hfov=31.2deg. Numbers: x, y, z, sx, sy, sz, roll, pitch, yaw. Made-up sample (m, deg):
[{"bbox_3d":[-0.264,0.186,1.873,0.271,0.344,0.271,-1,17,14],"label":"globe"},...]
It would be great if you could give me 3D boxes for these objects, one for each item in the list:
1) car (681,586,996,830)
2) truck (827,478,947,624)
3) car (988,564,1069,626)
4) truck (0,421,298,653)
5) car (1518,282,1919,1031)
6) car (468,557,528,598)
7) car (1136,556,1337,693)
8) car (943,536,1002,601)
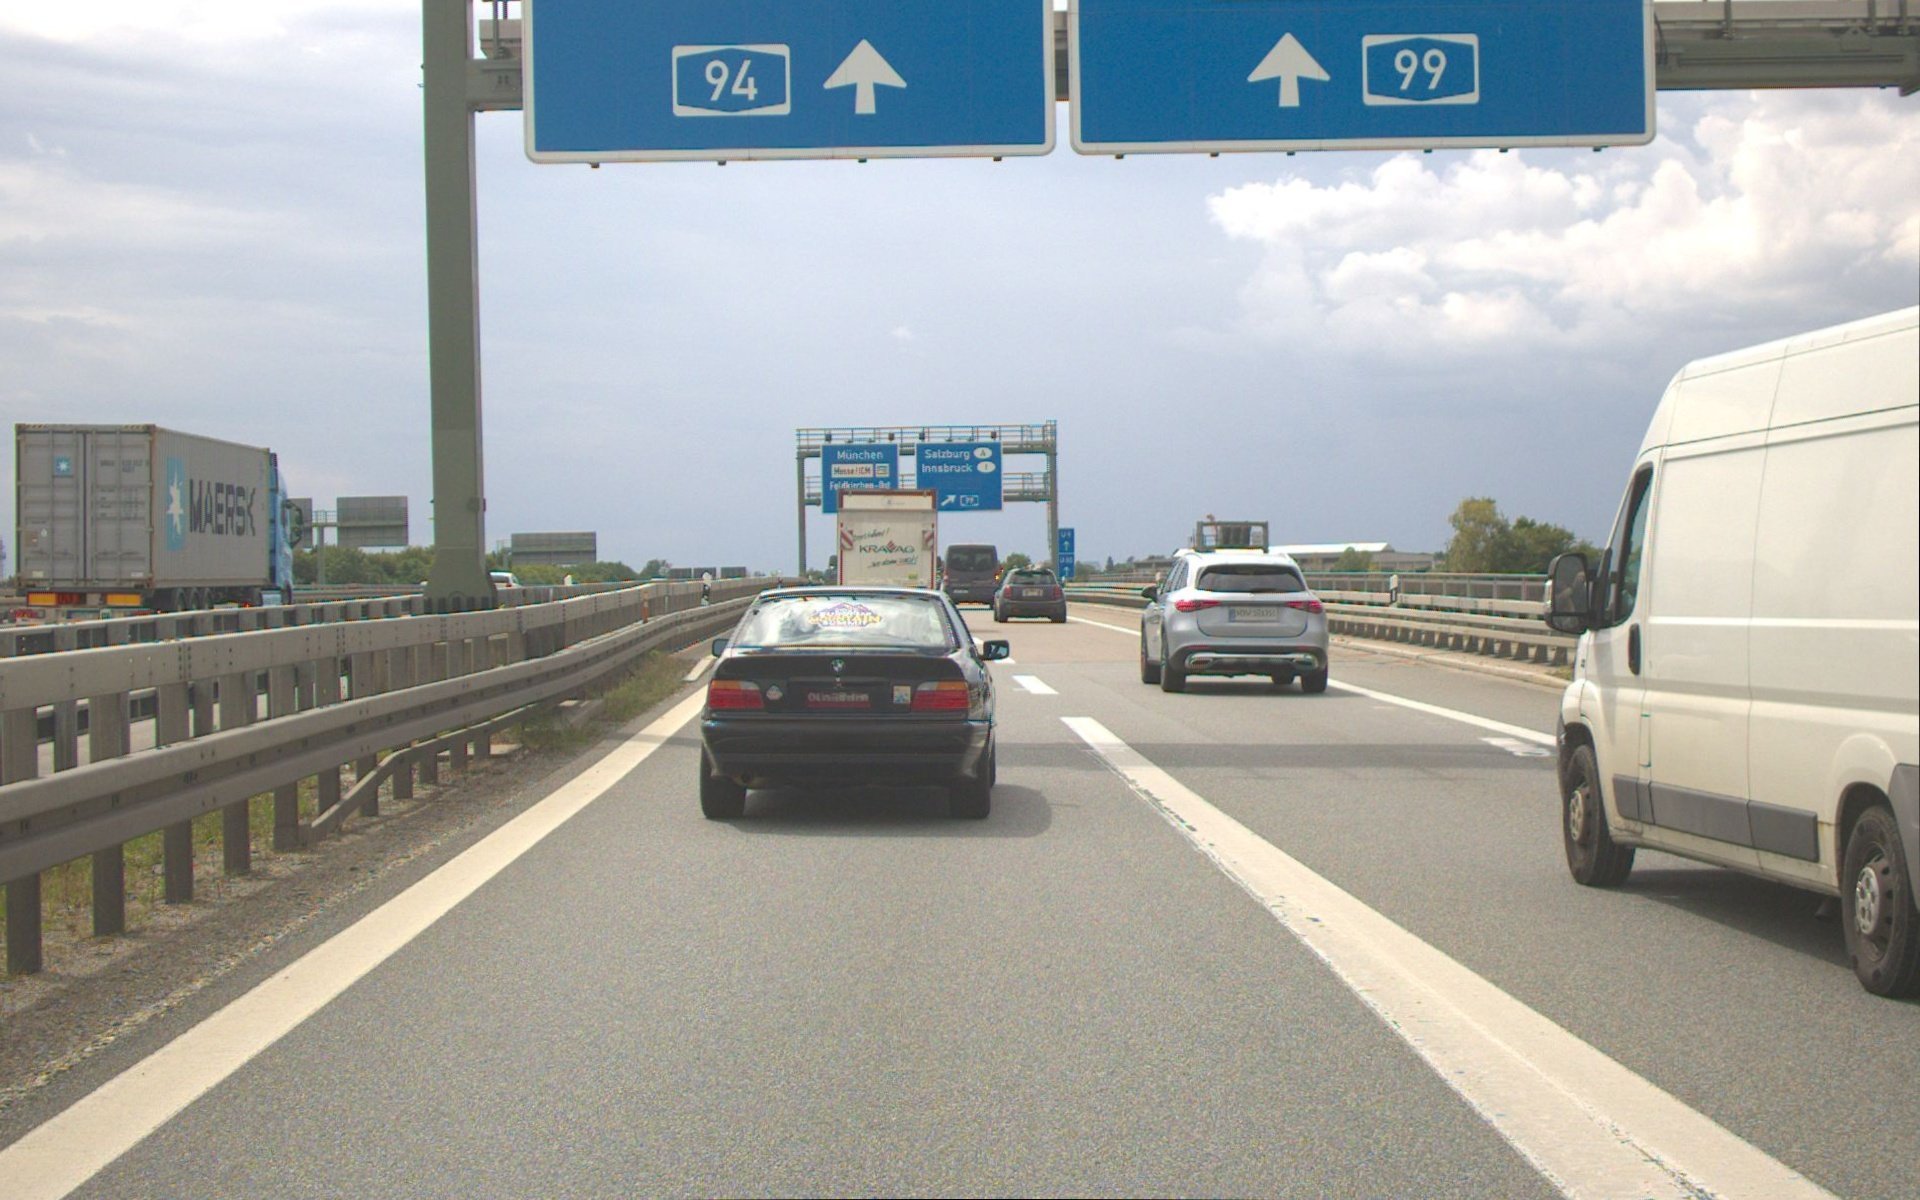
[{"bbox_3d":[-0.664,0.583,20.967,1.704,1.277,4.366,1,1,0],"label":"car"},{"bbox_3d":[-1.717,-1.047,79.527,2.569,3.115,8.634,1,-1,-2],"label":"truck"},{"bbox_3d":[1.767,-0.151,89.380,1.884,1.546,4.000,1,1,-2],"label":"car"},{"bbox_3d":[-15.932,-1.203,68.190,3.183,4.005,16.077,1,1,-3],"label":"truck"},{"bbox_3d":[4.021,0.160,13.942,2.113,2.445,6.152,1,1,-4],"label":"car"},{"bbox_3d":[-18.185,-0.891,135.454,1.828,1.557,4.000,0,1,0],"label":"car"},{"bbox_3d":[3.192,0.247,40.440,1.819,1.509,4.001,1,1,-3],"label":"car"},{"bbox_3d":[0.442,-1.127,122.917,1.906,2.254,4.649,1,1,-2],"label":"car"}]
